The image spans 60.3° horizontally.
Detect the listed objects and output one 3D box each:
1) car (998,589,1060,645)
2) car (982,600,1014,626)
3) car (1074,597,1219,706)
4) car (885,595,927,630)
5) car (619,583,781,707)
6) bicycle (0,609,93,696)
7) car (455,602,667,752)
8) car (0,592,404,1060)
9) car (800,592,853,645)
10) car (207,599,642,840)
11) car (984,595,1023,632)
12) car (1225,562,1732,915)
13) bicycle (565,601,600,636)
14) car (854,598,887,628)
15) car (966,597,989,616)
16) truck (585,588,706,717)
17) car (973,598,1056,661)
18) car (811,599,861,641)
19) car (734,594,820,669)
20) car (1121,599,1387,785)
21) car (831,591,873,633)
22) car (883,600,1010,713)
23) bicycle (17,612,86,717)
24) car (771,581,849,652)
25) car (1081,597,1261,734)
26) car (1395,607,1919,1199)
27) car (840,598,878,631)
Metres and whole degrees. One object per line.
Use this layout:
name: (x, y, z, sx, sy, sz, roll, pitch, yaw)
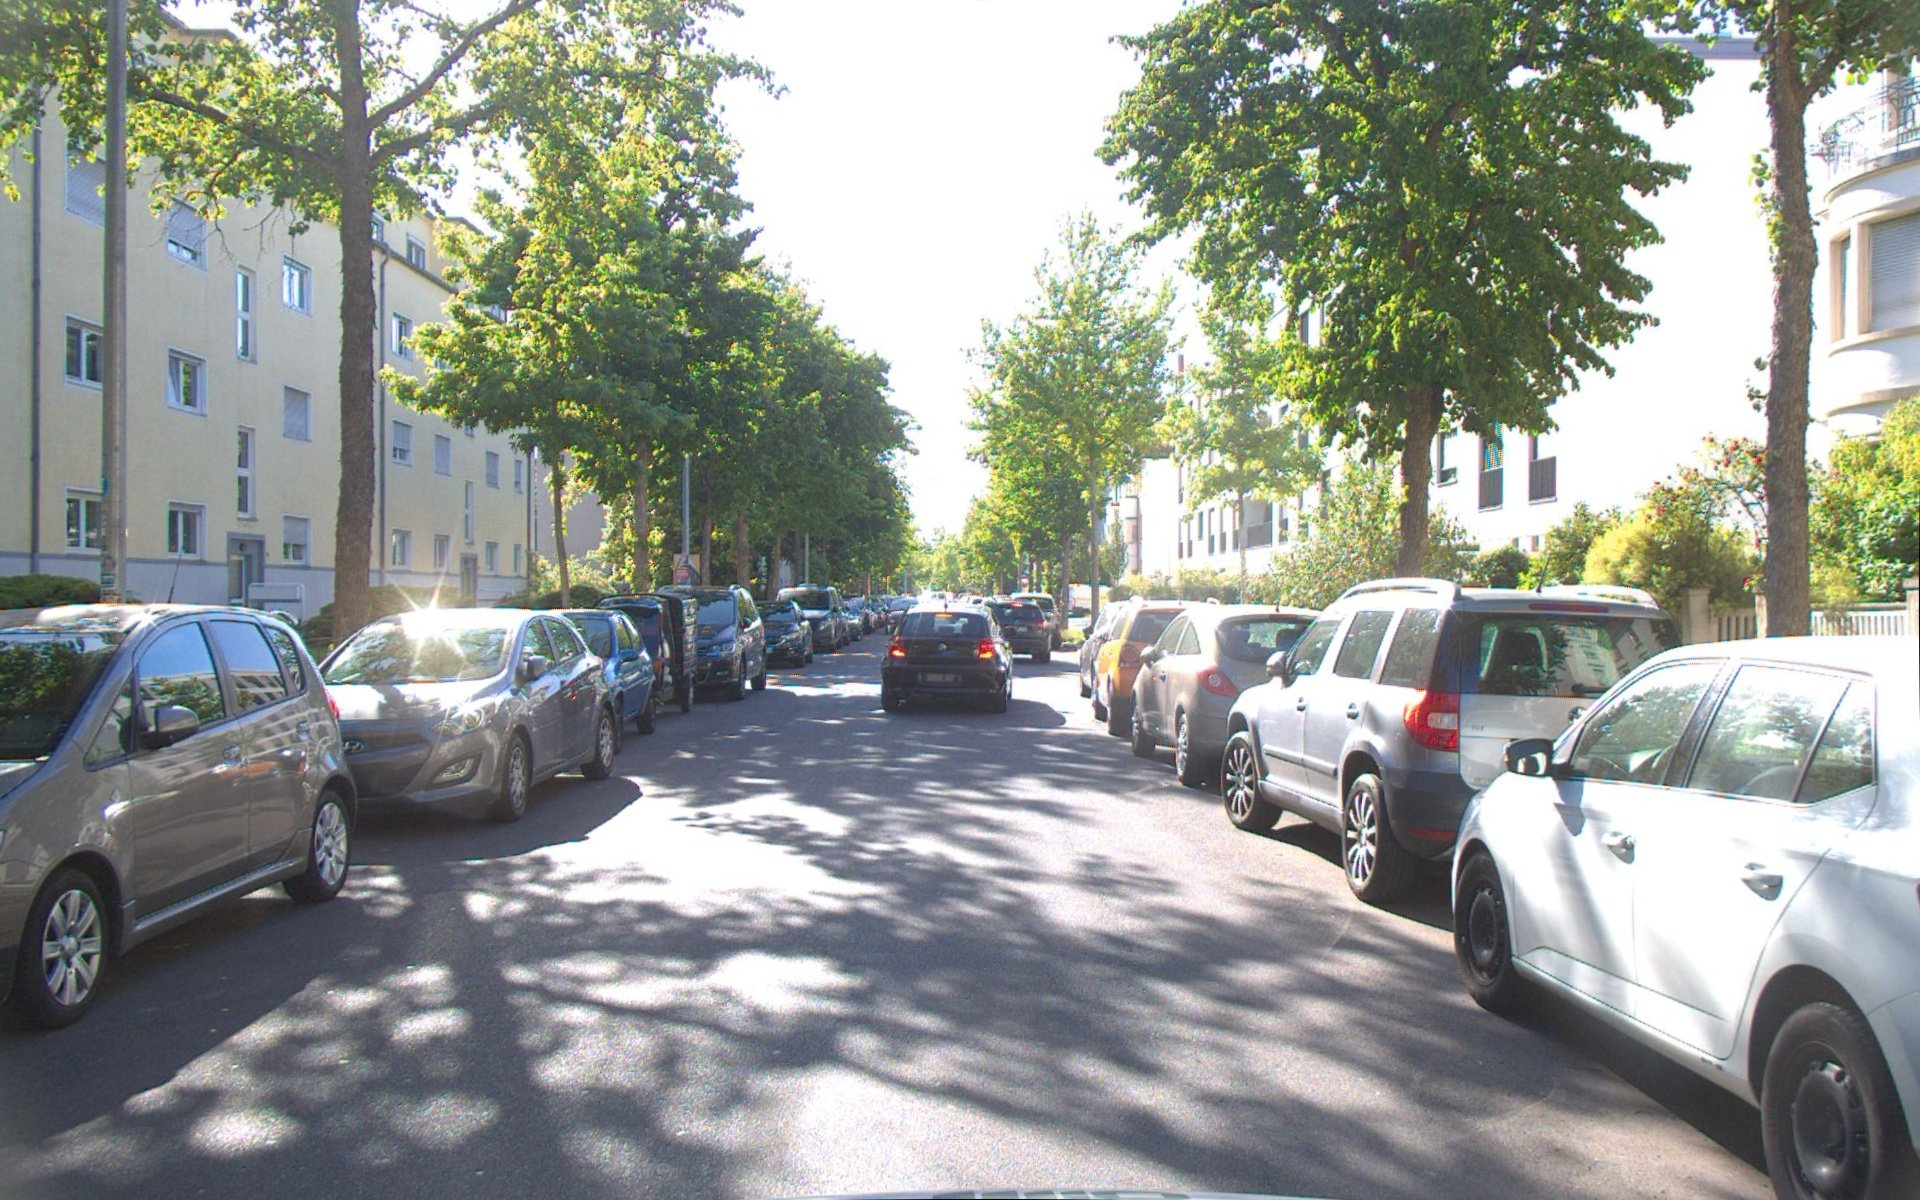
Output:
car: (2.143, 0.531, 52.010, 1.810, 1.659, 4.410, 1, -1, 1)
car: (2.143, 0.724, 93.264, 1.685, 1.403, 3.851, 2, 0, 0)
car: (2.688, 0.697, 24.635, 1.666, 1.474, 4.082, -1, 0, 0)
car: (-2.225, 0.509, 69.025, 1.474, 1.451, 3.179, 0, 0, 3)
car: (-4.024, 0.640, 26.356, 1.812, 1.710, 4.975, -2, 0, -1)
bicycle: (-12.141, 0.664, 21.177, 1.803, 1.100, 0.486, 0, 0, -4)
car: (-4.147, 0.740, 17.697, 1.490, 1.419, 3.725, 0, 0, -2)
car: (-3.977, 0.773, 7.240, 1.587, 1.542, 4.269, -2, 0, 0)
car: (-4.354, 0.596, 54.445, 1.580, 1.639, 4.227, -1, 0, -3)
car: (-3.854, 0.756, 12.858, 1.755, 1.470, 4.688, -2, 0, 1)
car: (2.027, 0.626, 78.145, 1.685, 1.669, 3.851, 2, 0, 0)
car: (2.816, 0.661, 9.890, 1.616, 1.684, 3.844, 0, 0, -4)
bicycle: (-11.051, 0.529, 48.446, 0.582, 1.009, 1.928, 0, 0, -1)
car: (-4.719, 0.672, 87.508, 1.579, 1.570, 3.864, -1, 0, -1)
car: (1.412, 0.518, 133.335, 1.685, 1.506, 3.852, -1, 0, 2)
truck: (-4.086, 0.646, 21.724, 1.061, 1.605, 2.432, 0, 0, 1)
car: (1.295, 0.688, 40.889, 1.617, 1.450, 3.997, 0, 0, -5)
car: (-4.446, 0.692, 59.751, 1.579, 1.452, 4.057, -1, 0, -1)
car: (-4.176, 0.693, 38.309, 1.477, 1.575, 4.777, -2, 0, -1)
car: (2.527, 0.729, 15.005, 1.616, 1.453, 3.610, -1, 0, -3)
car: (-4.553, 0.496, 70.285, 1.579, 1.708, 4.233, -1, 0, -1)
car: (-0.210, 0.718, 22.888, 1.616, 1.421, 3.411, 0, 0, -1)
bicycle: (-10.160, 0.697, 18.533, 0.479, 1.100, 1.831, 3, -1, -24)
car: (-4.365, 0.447, 48.729, 1.789, 1.938, 5.141, -1, 0, 0)
car: (2.449, 0.708, 20.066, 1.603, 1.480, 4.099, 0, 0, -1)
car: (2.777, 0.770, 5.245, 1.596, 1.450, 4.367, -1, 0, -1)
car: (-4.613, 0.655, 75.987, 1.579, 1.478, 3.864, -1, 0, -1)
